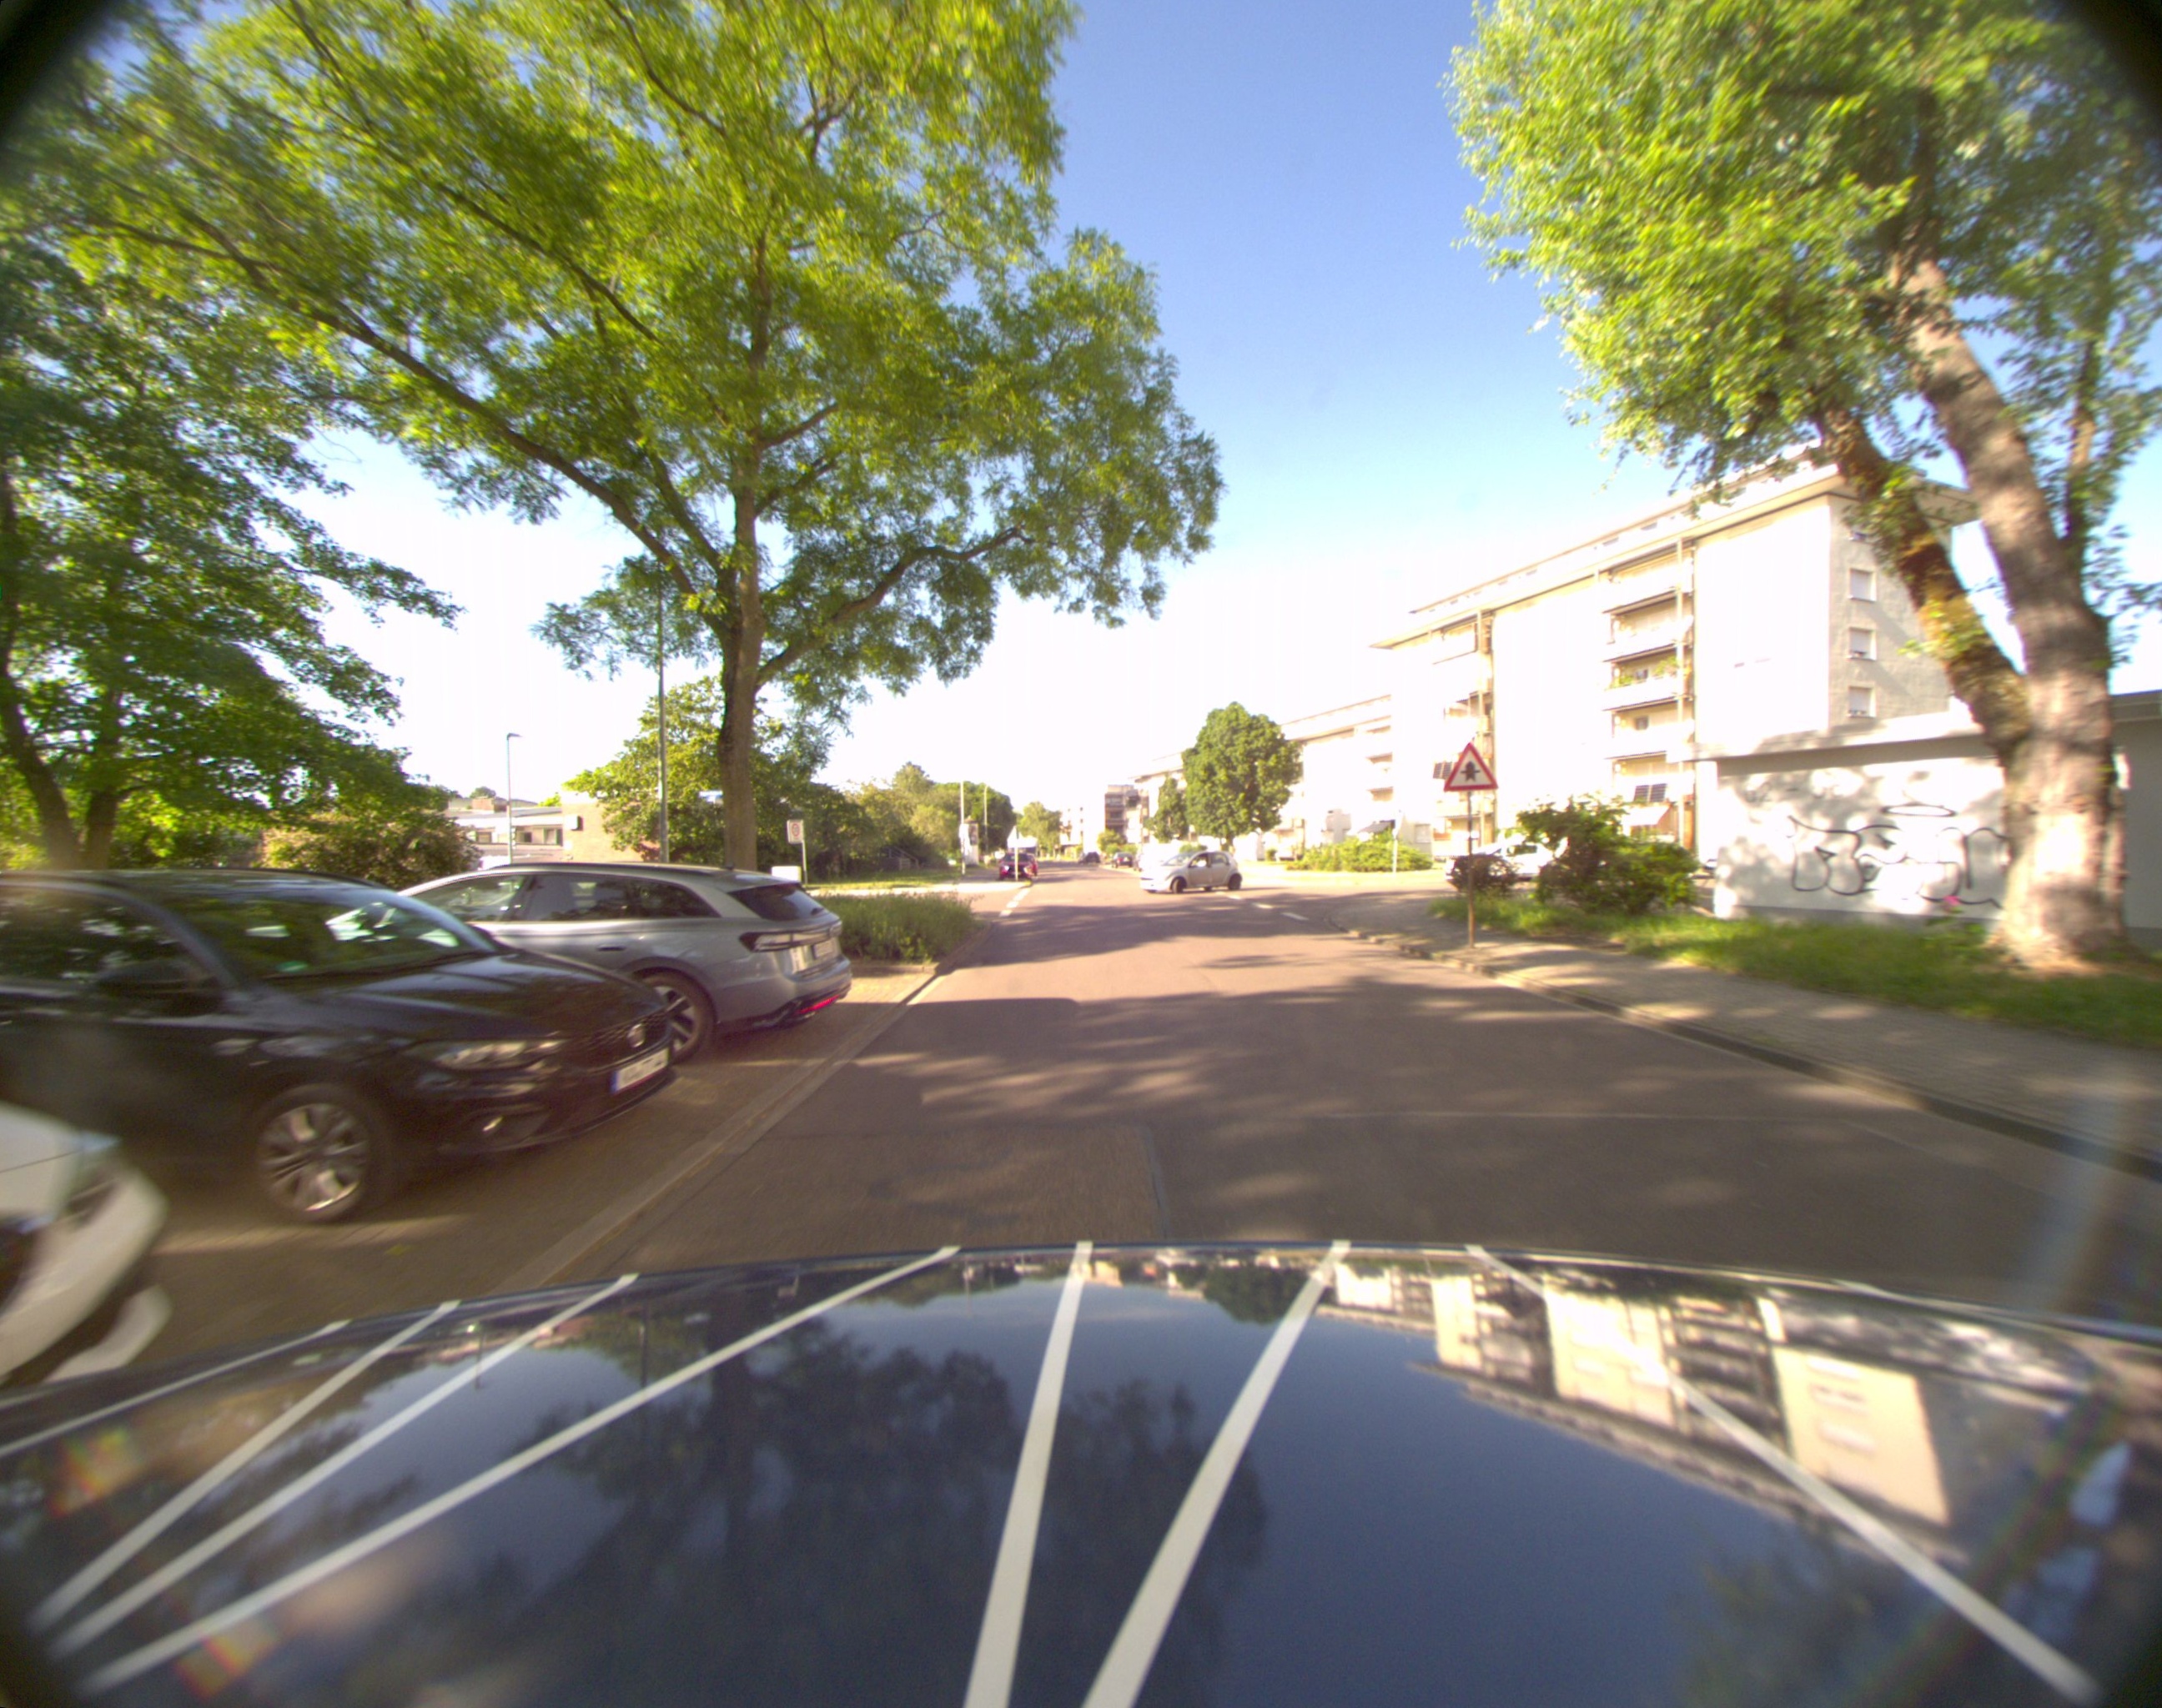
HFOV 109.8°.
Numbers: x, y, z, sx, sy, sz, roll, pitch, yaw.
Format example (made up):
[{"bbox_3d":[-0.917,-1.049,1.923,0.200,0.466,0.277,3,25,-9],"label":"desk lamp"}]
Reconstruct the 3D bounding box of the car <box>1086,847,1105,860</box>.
[{"bbox_3d":[1.812,-0.037,96.982,1.795,1.535,4.049,-4,1,-7],"label":"car"}]

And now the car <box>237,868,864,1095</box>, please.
[{"bbox_3d":[-4.118,0.950,6.418,4.051,1.544,1.745,1,1,0],"label":"car"}]

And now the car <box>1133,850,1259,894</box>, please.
[{"bbox_3d":[4.039,0.629,26.611,4.176,1.417,1.594,1,1,-25],"label":"car"}]

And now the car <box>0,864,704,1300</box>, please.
[{"bbox_3d":[-4.457,0.976,3.932,4.052,1.649,1.745,-2,1,0],"label":"car"}]

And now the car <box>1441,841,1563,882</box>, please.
[{"bbox_3d":[15.808,0.278,28.668,3.725,1.417,1.534,-1,1,8],"label":"car"}]

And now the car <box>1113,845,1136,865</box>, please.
[{"bbox_3d":[3.866,0.041,68.145,1.693,1.661,4.051,-2,1,-2],"label":"car"}]

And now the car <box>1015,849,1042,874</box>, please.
[{"bbox_3d":[-3.622,0.509,52.649,1.694,1.618,4.051,1,1,-2],"label":"car"}]

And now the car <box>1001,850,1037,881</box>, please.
[{"bbox_3d":[-3.458,0.632,43.035,1.773,1.606,4.051,1,1,-2],"label":"car"}]

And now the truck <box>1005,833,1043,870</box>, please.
[{"bbox_3d":[-4.614,-0.230,62.968,2.763,2.785,8.264,1,1,-2],"label":"truck"}]

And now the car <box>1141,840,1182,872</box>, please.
[{"bbox_3d":[5.168,0.094,49.255,2.007,1.837,4.615,-3,1,0],"label":"car"}]

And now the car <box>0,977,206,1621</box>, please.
[{"bbox_3d":[-4.532,1.026,1.240,4.149,1.400,1.745,1,1,-1],"label":"car"}]
